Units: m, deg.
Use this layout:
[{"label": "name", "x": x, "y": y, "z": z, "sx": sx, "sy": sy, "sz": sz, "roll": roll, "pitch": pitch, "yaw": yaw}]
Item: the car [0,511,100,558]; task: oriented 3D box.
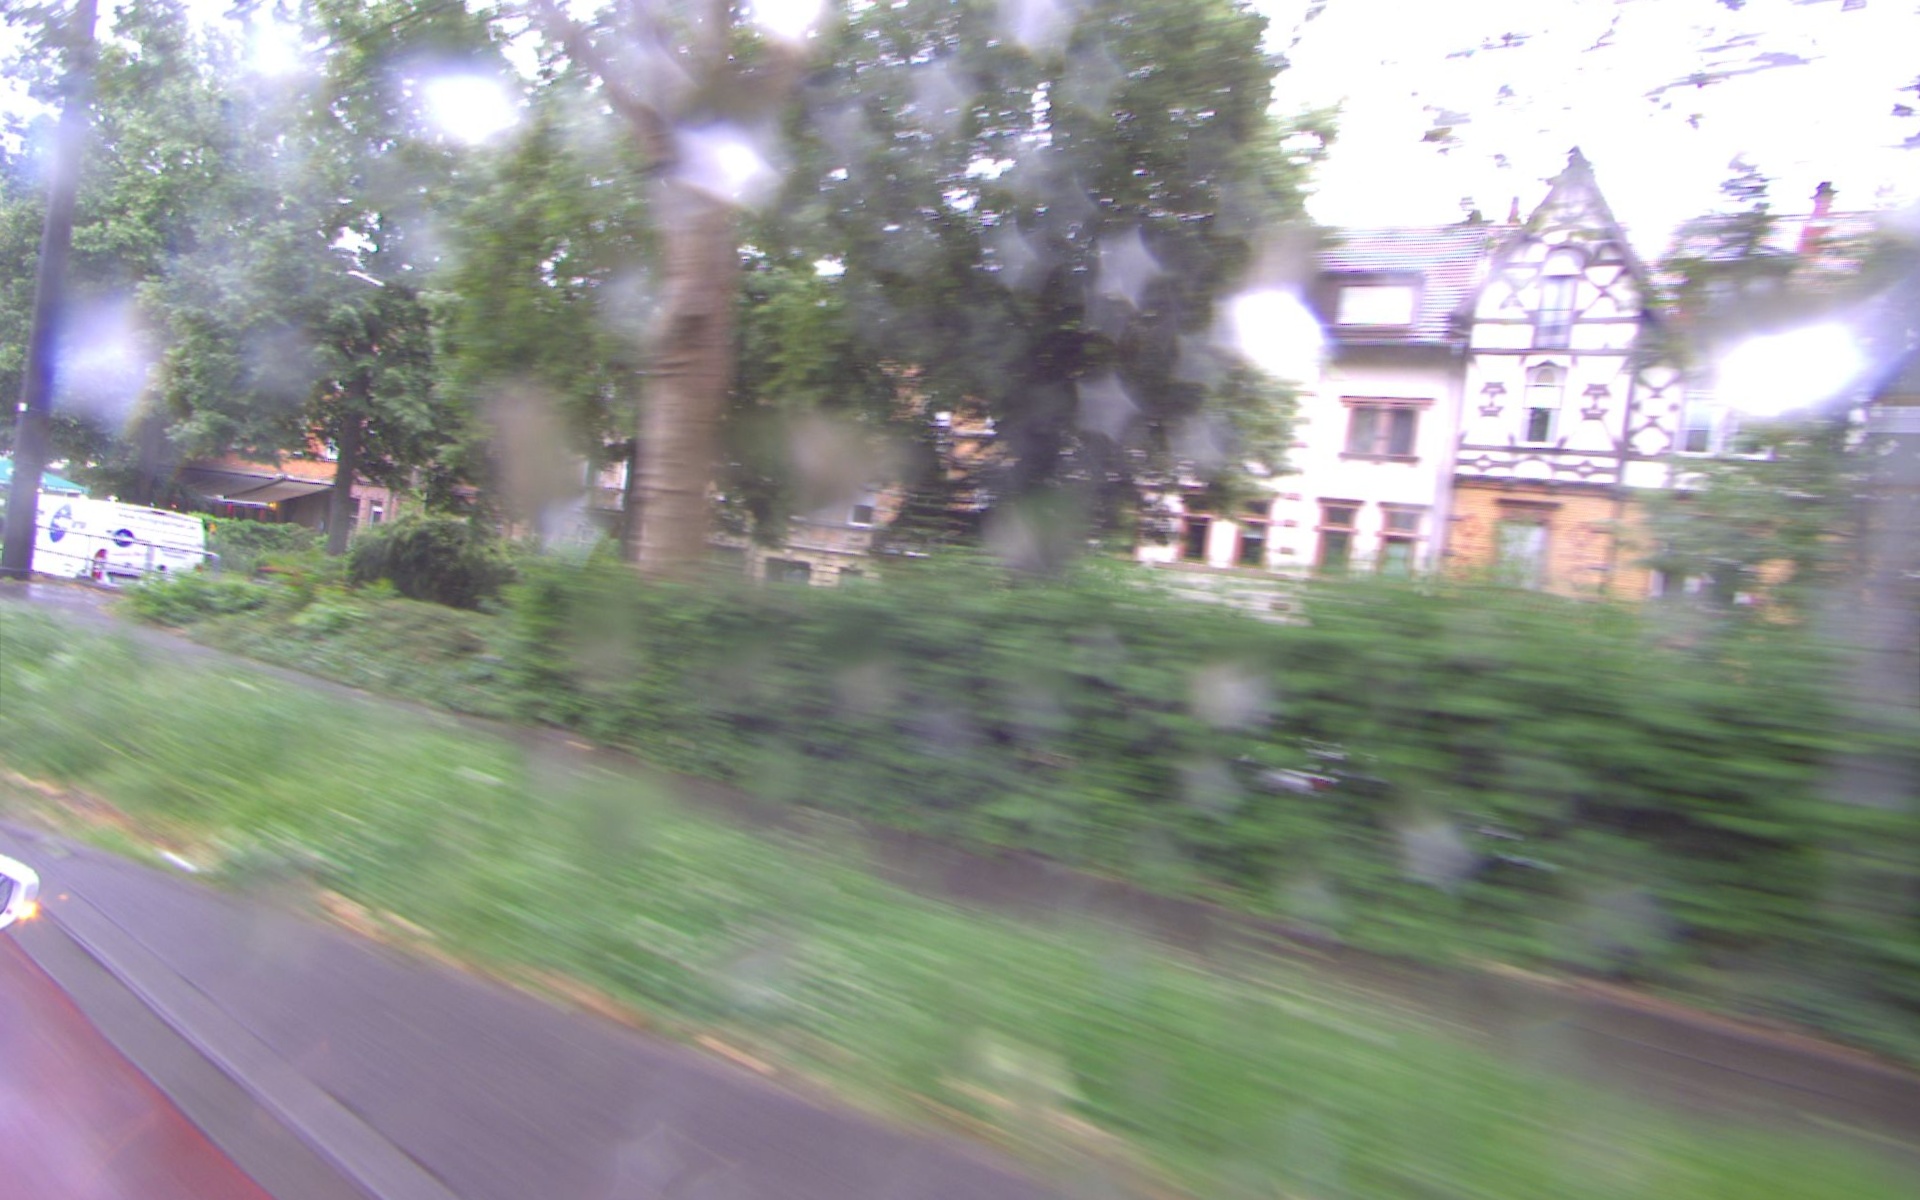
[{"label": "car", "x": -35.363, "y": -2.497, "z": 38.678, "sx": 1.861, "sy": 1.497, "sz": 3.986, "roll": 7, "pitch": 0, "yaw": -15}]

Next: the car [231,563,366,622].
[{"label": "car", "x": -19.840, "y": -0.241, "z": 30.362, "sx": 1.679, "sy": 1.455, "sz": 3.668, "roll": 7, "pitch": 0, "yaw": -4}]

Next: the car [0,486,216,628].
[{"label": "car", "x": -19.967, "y": -1.035, "z": 23.014, "sx": 5.675, "sy": 2.564, "sz": 2.184, "roll": 8, "pitch": 1, "yaw": 26}]

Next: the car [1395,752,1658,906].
[{"label": "car", "x": 9.119, "y": 3.651, "z": 16.624, "sx": 1.883, "sy": 1.433, "sz": 3.799, "roll": 7, "pitch": 0, "yaw": -4}]

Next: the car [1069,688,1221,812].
[{"label": "car", "x": 3.495, "y": 2.838, "z": 19.779, "sx": 1.883, "sy": 1.623, "sz": 3.799, "roll": 7, "pitch": 0, "yaw": -4}]

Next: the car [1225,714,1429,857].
[{"label": "car", "x": 6.371, "y": 3.185, "z": 17.976, "sx": 1.883, "sy": 1.623, "sz": 3.799, "roll": 7, "pitch": 0, "yaw": -4}]
